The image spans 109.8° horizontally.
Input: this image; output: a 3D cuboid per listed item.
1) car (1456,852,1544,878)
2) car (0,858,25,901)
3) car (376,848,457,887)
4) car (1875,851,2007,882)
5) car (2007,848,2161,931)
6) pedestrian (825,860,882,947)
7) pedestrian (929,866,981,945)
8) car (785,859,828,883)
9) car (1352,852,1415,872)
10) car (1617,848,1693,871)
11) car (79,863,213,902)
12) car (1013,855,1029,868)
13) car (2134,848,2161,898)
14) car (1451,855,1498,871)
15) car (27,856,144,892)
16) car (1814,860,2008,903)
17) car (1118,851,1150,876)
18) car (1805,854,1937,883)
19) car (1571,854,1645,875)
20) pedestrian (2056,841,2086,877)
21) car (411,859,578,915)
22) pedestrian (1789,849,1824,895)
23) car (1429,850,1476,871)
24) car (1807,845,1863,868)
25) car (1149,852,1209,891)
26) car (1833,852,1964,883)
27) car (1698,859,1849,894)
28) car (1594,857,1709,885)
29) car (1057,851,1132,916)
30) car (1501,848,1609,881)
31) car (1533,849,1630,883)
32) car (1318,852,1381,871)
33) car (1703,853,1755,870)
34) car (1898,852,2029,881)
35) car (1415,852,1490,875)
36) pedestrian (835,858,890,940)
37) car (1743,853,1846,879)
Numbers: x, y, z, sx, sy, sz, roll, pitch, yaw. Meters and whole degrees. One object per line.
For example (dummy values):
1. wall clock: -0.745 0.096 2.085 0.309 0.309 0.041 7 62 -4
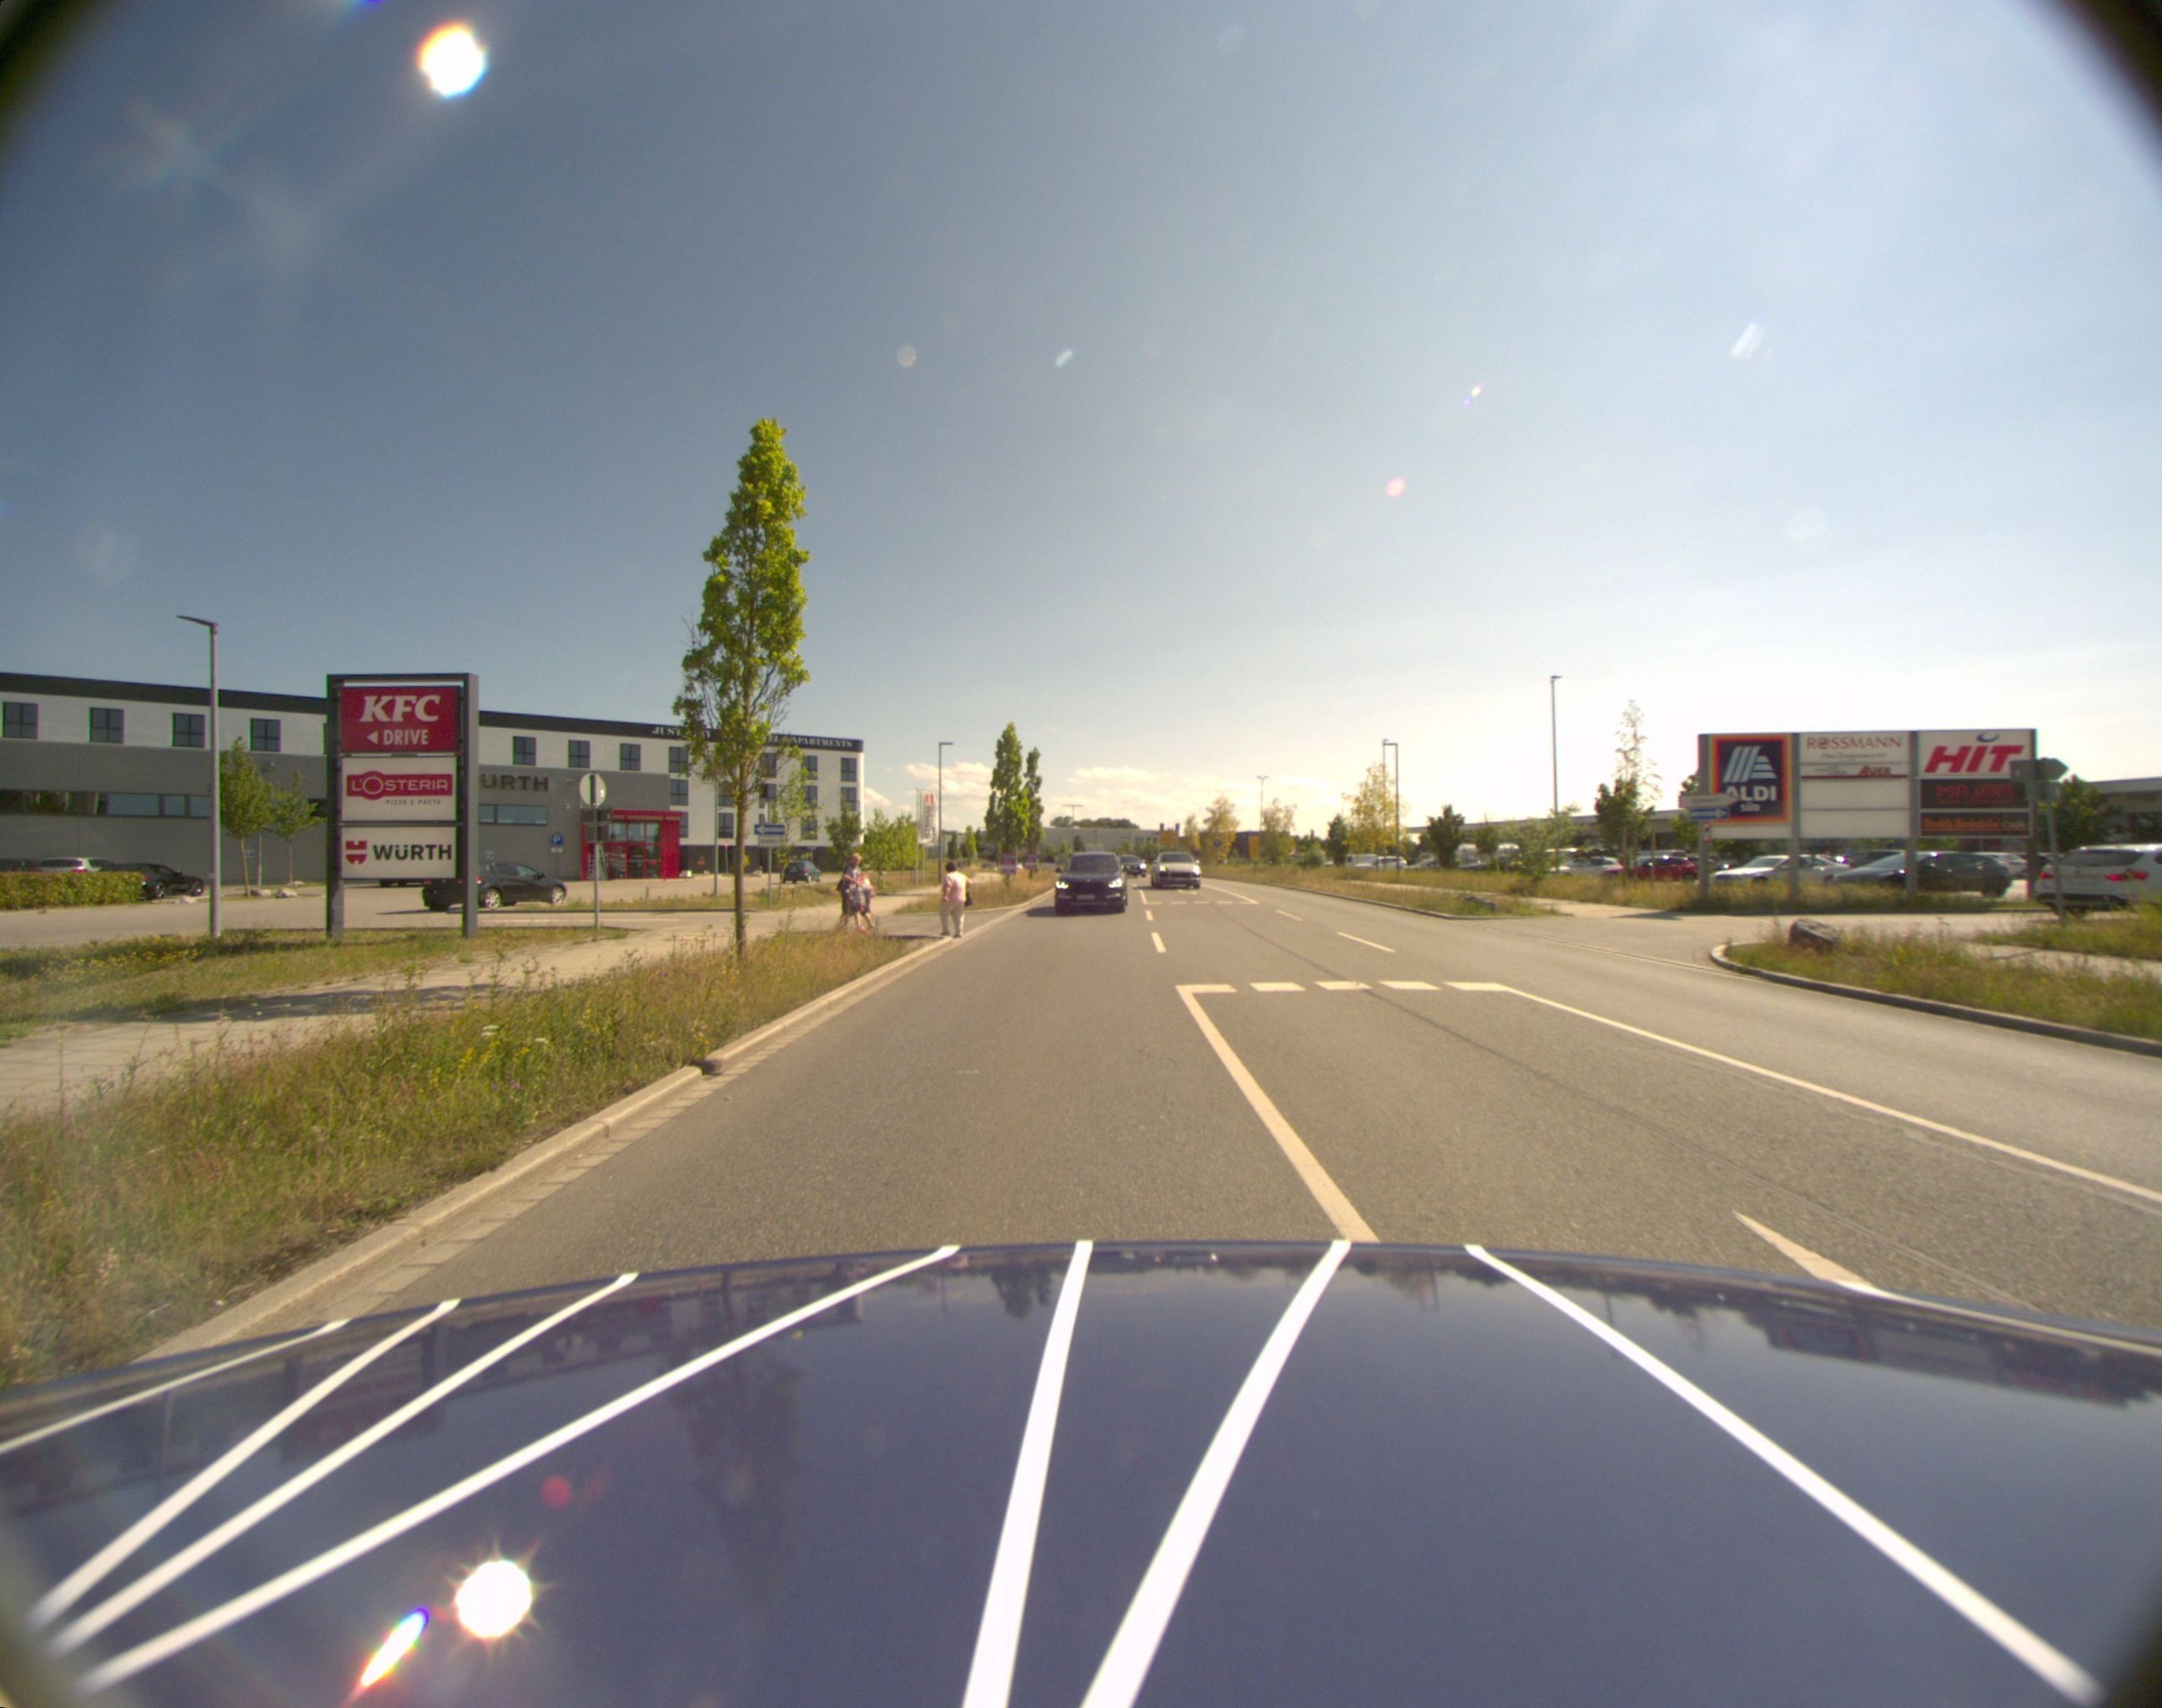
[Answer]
1. car: 27.289 0.681 49.564 4.782 1.662 1.881 0 0 -5
2. car: -37.390 0.872 24.891 1.705 1.463 4.222 0 0 -31
3. car: -33.617 0.655 38.611 2.052 1.805 4.913 0 0 -28
4. car: 45.802 0.646 40.617 1.719 1.562 4.347 0 0 -20
5. car: 21.724 0.651 15.091 4.222 1.538 1.918 0 0 2
6. pedestrian: -4.387 0.931 14.709 0.803 1.620 0.805 -1 1 1
7. pedestrian: -2.408 0.969 14.657 0.794 1.461 0.949 -1 1 1
8. car: -17.206 1.043 47.781 1.518 1.399 3.998 0 0 -5
9. car: 25.780 0.661 64.915 4.604 1.662 1.999 0 0 -7
10. car: 44.637 0.437 59.222 1.718 1.730 4.577 0 0 -17
11. car: -32.857 0.946 26.851 1.656 1.205 4.125 0 0 -31
12. car: -7.327 0.922 91.846 1.787 1.485 3.997 -1 0 -6
13. car: 33.497 0.575 21.792 1.913 1.538 4.006 0 0 19
14. car: 39.038 0.874 75.361 4.003 1.543 1.841 0 0 -18
15. car: -44.211 0.841 33.874 1.704 1.454 4.099 0 0 -30
16. car: 26.868 0.868 24.722 4.154 1.340 1.936 0 0 1
17. car: 3.716 0.647 54.109 1.757 1.677 4.380 0 0 -4
18. car: 40.316 0.723 38.918 1.719 1.408 4.347 0 0 -20
19. car: 39.529 0.799 57.084 1.719 1.517 4.347 0 0 -21
20. pedestrian: 50.132 0.265 38.492 0.571 1.813 0.780 -1 1 -18
21. car: -17.785 0.923 23.328 1.784 1.531 4.169 0 0 2
22. pedestrian: 27.297 0.673 28.590 0.766 1.685 0.578 0 1 2
23. car: 46.415 0.804 94.941 5.725 2.572 1.936 0 0 -21
24. car: 59.950 0.192 60.420 4.360 1.797 1.714 0 0 -24
25. car: 4.514 0.831 35.704 2.114 1.633 4.778 -1 -2 0
26. car: 42.614 0.692 39.734 1.719 1.540 4.347 0 0 -20
27. car: 27.110 0.861 29.846 4.154 1.340 1.936 0 0 1
28. car: 27.988 0.843 37.372 4.154 1.340 1.936 0 0 1
29. car: 0.285 0.829 21.963 1.901 1.669 4.467 -1 -2 -2
30. car: 29.504 0.633 47.357 5.699 1.953 1.999 0 0 -7
31. car: 27.784 0.636 42.265 4.155 1.850 1.932 0 0 -1
32. car: 24.729 0.694 69.904 5.199 1.662 1.998 0 0 -12
33. car: 56.274 0.644 65.961 4.360 1.515 1.714 0 0 -24
34. car: 48.097 0.658 41.550 1.719 1.523 4.347 0 0 -20
35. car: 27.852 0.682 57.061 4.715 1.662 1.999 0 0 -5
36. pedestrian: -4.460 0.891 15.567 0.811 1.619 0.866 -1 1 1
37. car: 43.586 0.737 46.555 1.718 1.517 4.348 0 0 -17
